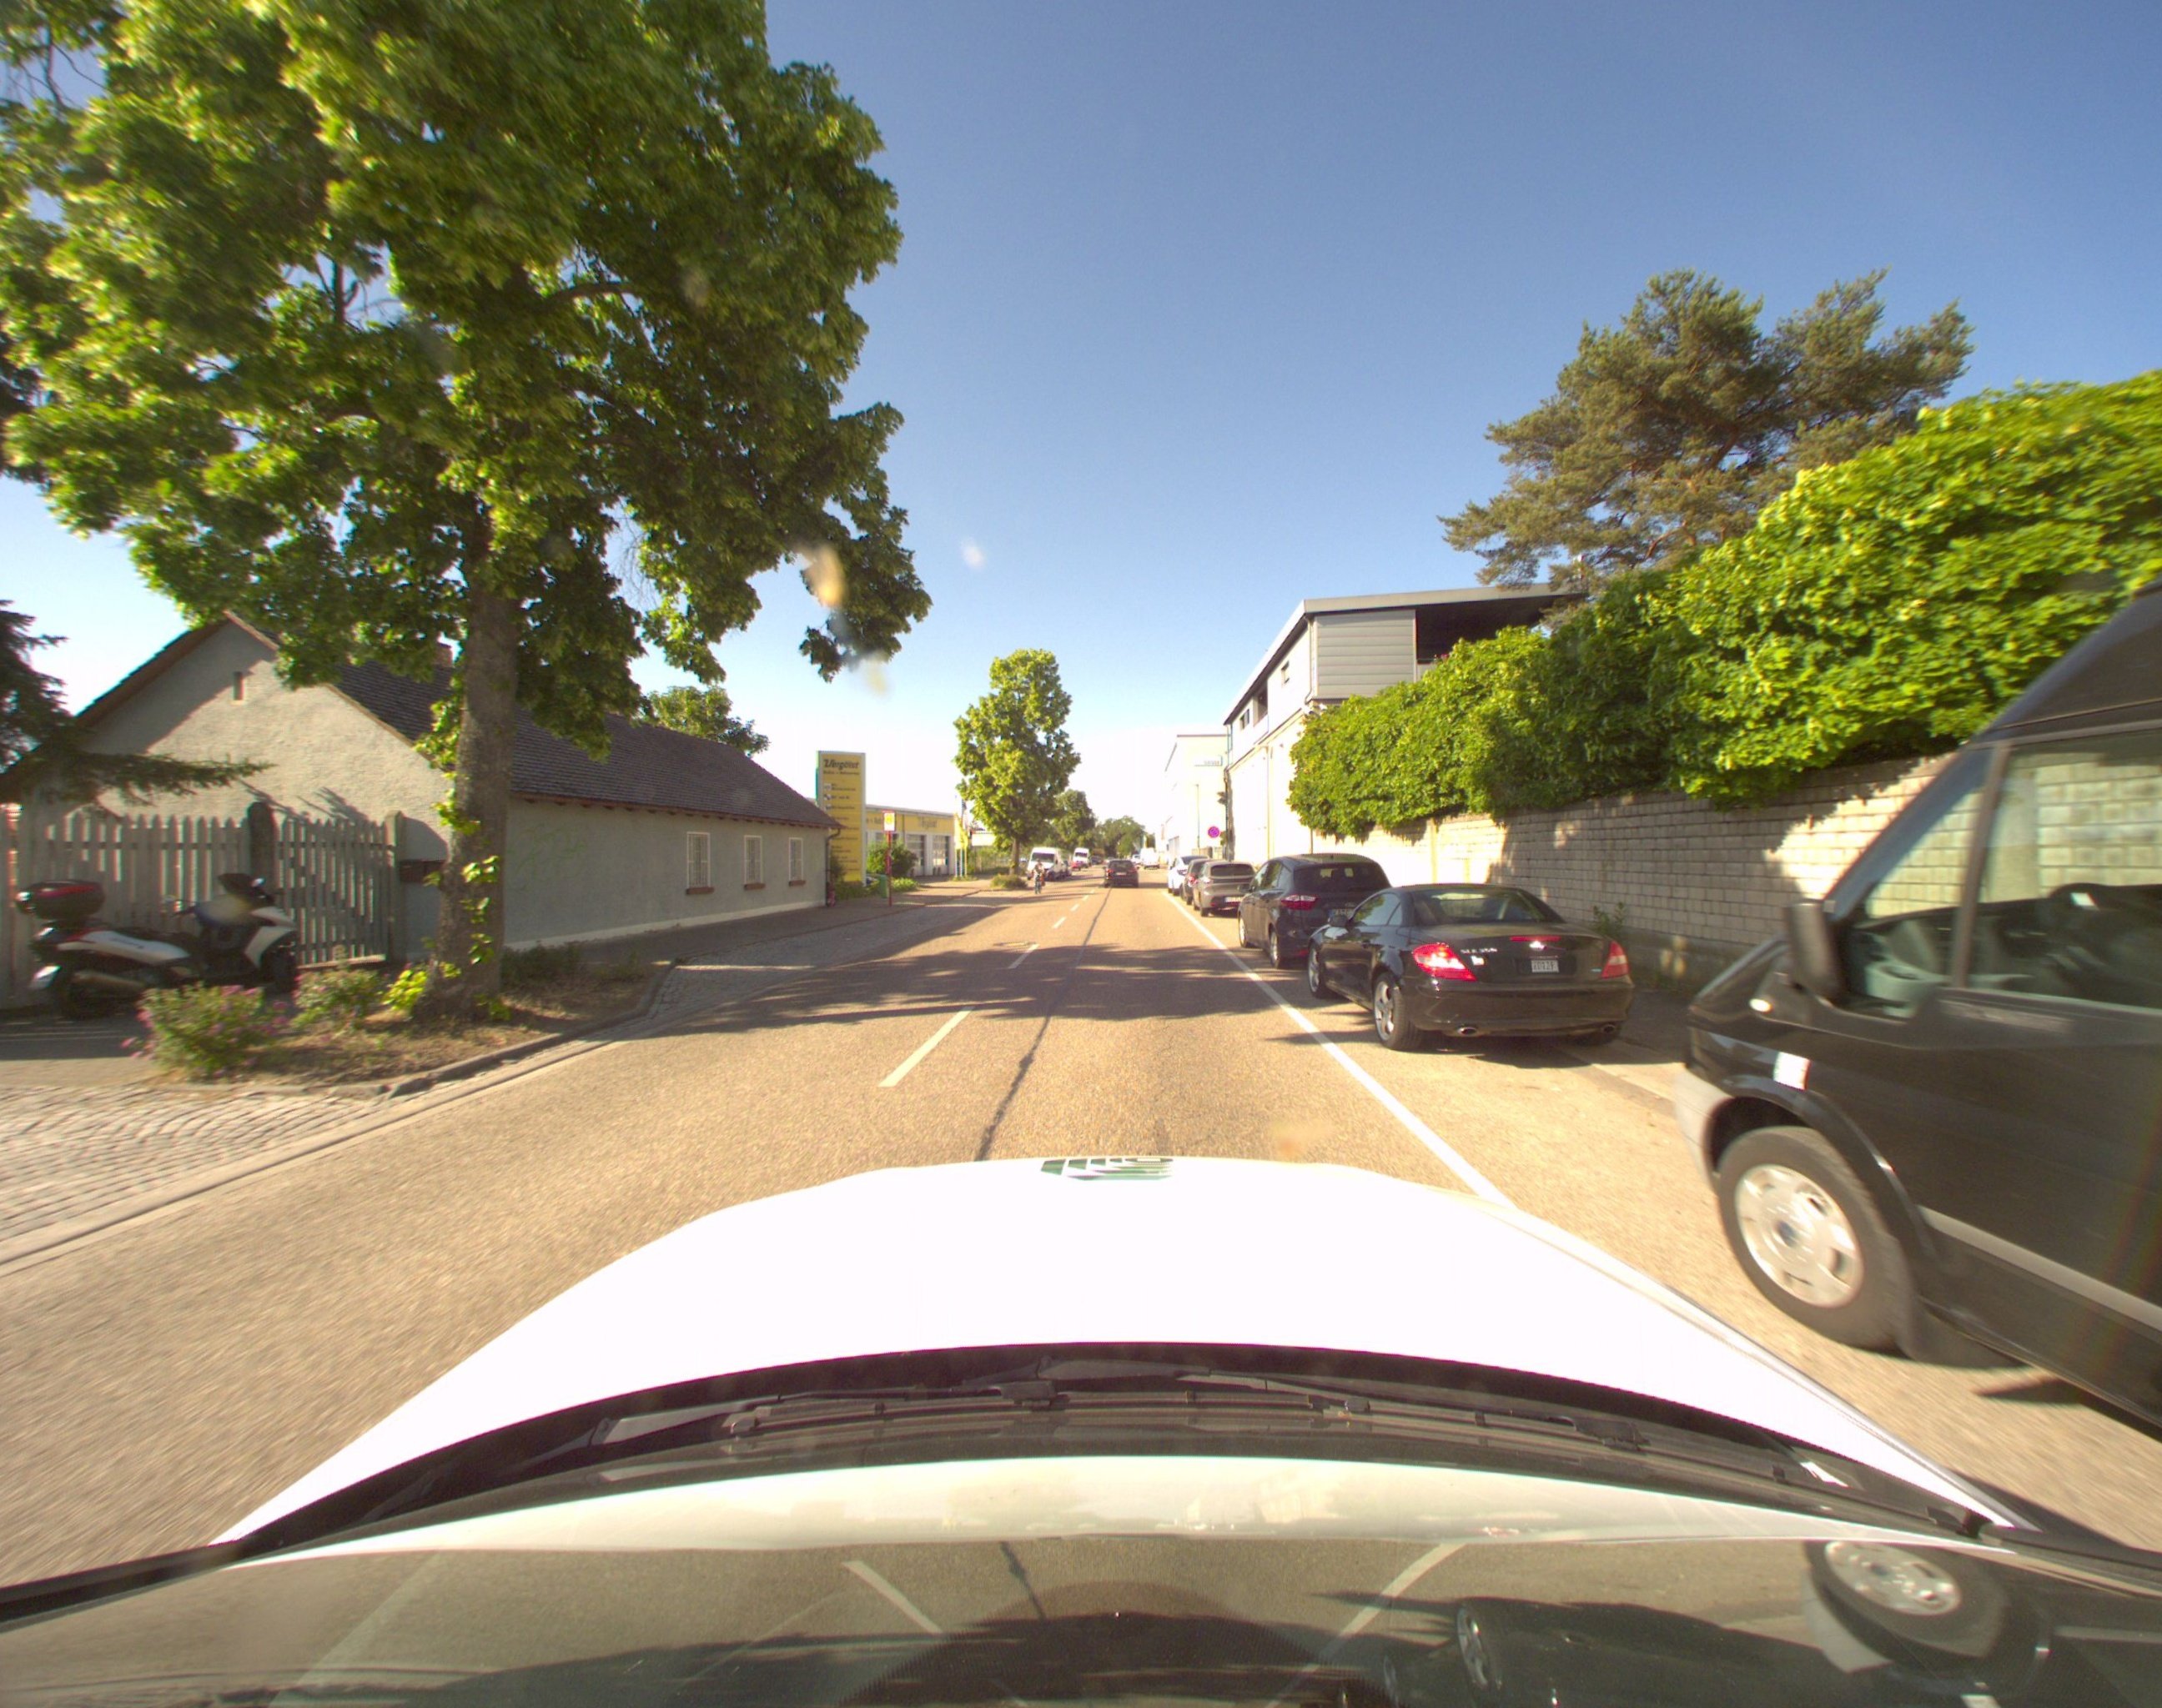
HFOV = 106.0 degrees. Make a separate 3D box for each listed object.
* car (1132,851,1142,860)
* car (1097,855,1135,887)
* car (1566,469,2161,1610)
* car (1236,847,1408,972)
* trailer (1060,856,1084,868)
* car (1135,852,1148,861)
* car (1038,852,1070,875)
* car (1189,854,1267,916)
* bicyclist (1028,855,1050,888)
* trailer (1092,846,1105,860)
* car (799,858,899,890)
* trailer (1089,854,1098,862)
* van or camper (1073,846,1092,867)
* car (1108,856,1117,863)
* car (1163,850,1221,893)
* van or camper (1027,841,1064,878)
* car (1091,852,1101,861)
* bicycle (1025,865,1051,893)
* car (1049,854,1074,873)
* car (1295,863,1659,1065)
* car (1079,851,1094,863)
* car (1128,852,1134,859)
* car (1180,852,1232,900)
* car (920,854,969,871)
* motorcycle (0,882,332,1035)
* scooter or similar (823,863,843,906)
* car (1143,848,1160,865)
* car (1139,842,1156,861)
[{"bbox_3d":[12.043,0.371,175.097,1.878,1.797,5.106,1,-1,2],"label":"car"},{"bbox_3d":[1.851,0.843,42.075,1.839,1.530,4.004,-2,0,3],"label":"car"},{"bbox_3d":[3.044,0.358,1.133,1.884,2.260,5.150,-2,0,3],"label":"car"},{"bbox_3d":[3.522,0.711,12.667,1.674,1.613,4.209,0,0,3],"label":"car"},{"bbox_3d":[-1.005,0.844,92.286,2.366,1.080,6.250,3,1,2],"label":"trailer"},{"bbox_3d":[9.710,0.418,130.773,1.887,1.405,5.127,1,0,2],"label":"car"},{"bbox_3d":[-2.223,0.740,67.698,1.983,1.738,4.582,3,0,6],"label":"car"},{"bbox_3d":[3.986,0.792,22.661,1.652,1.505,4.035,-2,0,3],"label":"car"},{"bbox_3d":[-1.988,0.836,38.619,0.835,1.542,1.138,1,-1,6],"label":"bicyclist"},{"bbox_3d":[4.464,-0.172,204.442,2.980,3.443,8.164,-1,0,1],"label":"trailer"},{"bbox_3d":[-11.455,0.975,40.283,4.311,1.508,2.009,-1,0,17],"label":"car"},{"bbox_3d":[2.304,0.653,145.356,1.470,1.354,3.081,1,0,3],"label":"trailer"},{"bbox_3d":[0.177,0.282,110.975,1.957,2.685,5.955,4,0,4],"label":"van or camper"},{"bbox_3d":[6.966,1.233,179.767,1.740,1.447,4.363,-1,0,3],"label":"car"},{"bbox_3d":[4.624,0.684,34.574,1.925,1.644,4.771,-2,0,1],"label":"car"},{"bbox_3d":[-2.632,0.362,62.155,2.062,2.549,6.408,3,0,3],"label":"van or camper"},{"bbox_3d":[3.009,0.463,163.762,1.783,1.731,4.808,-2,0,4],"label":"car"},{"bbox_3d":[-2.001,1.153,38.477,0.835,1.240,2.608,1,-1,6],"label":"bicycle"},{"bbox_3d":[-1.704,0.805,72.966,1.792,1.510,5.007,3,0,3],"label":"car"},{"bbox_3d":[3.297,0.795,7.745,1.647,1.318,4.108,-2,0,3],"label":"car"},{"bbox_3d":[0.829,0.389,124.155,2.023,1.694,5.108,3,0,1],"label":"car"},{"bbox_3d":[14.835,0.375,241.600,1.866,2.014,5.164,1,-1,3],"label":"car"},{"bbox_3d":[4.239,0.703,27.994,1.590,1.473,4.197,-2,0,7],"label":"car"},{"bbox_3d":[-13.023,0.822,77.709,4.129,1.574,1.923,-1,0,12],"label":"car"},{"bbox_3d":[-9.334,0.959,8.428,0.696,1.233,2.541,1,0,3],"label":"motorcycle"},{"bbox_3d":[-7.765,0.932,25.528,0.482,1.271,1.570,-1,0,-14],"label":"scooter or similar"},{"bbox_3d":[8.092,0.296,93.377,1.881,1.832,5.096,-1,0,4],"label":"car"},{"bbox_3d":[9.716,-0.437,119.355,1.986,2.597,6.053,-3,1,2],"label":"car"}]
